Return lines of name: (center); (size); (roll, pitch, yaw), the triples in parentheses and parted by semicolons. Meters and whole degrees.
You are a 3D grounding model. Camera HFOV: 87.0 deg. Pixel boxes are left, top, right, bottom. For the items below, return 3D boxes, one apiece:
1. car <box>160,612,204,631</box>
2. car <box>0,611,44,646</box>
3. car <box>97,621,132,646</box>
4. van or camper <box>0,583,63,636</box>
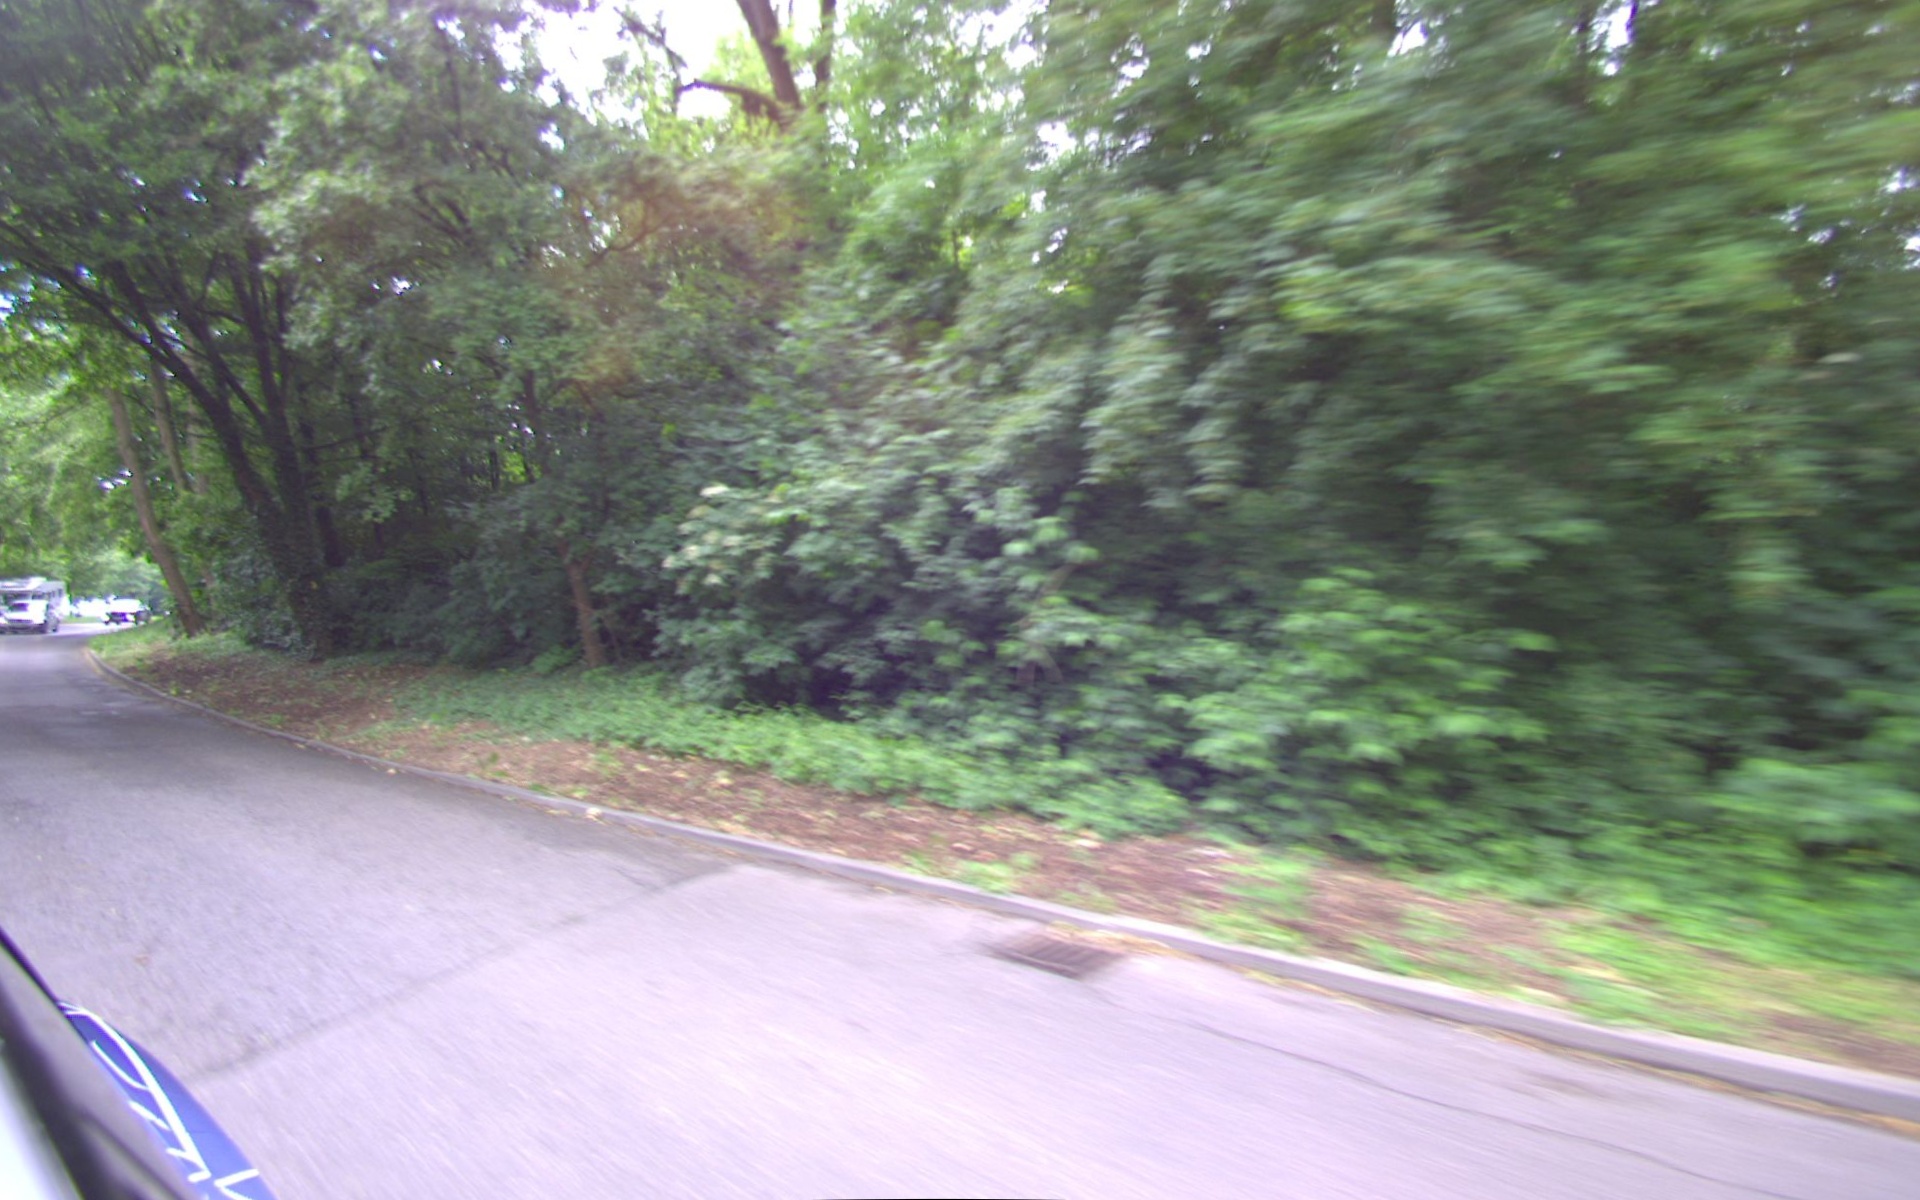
car: (-68.982, 1.865, 89.799); (1.687, 1.564, 4.692); (-1, 0, -18)
car: (-45.668, 1.366, 49.183); (1.631, 1.580, 4.050); (-1, 0, -43)
car: (-56.972, 2.226, 68.189); (1.742, 1.580, 4.051); (-1, 0, -41)
van or camper: (-56.523, 0.611, 60.680); (2.390, 3.002, 7.417); (-1, 0, -28)
